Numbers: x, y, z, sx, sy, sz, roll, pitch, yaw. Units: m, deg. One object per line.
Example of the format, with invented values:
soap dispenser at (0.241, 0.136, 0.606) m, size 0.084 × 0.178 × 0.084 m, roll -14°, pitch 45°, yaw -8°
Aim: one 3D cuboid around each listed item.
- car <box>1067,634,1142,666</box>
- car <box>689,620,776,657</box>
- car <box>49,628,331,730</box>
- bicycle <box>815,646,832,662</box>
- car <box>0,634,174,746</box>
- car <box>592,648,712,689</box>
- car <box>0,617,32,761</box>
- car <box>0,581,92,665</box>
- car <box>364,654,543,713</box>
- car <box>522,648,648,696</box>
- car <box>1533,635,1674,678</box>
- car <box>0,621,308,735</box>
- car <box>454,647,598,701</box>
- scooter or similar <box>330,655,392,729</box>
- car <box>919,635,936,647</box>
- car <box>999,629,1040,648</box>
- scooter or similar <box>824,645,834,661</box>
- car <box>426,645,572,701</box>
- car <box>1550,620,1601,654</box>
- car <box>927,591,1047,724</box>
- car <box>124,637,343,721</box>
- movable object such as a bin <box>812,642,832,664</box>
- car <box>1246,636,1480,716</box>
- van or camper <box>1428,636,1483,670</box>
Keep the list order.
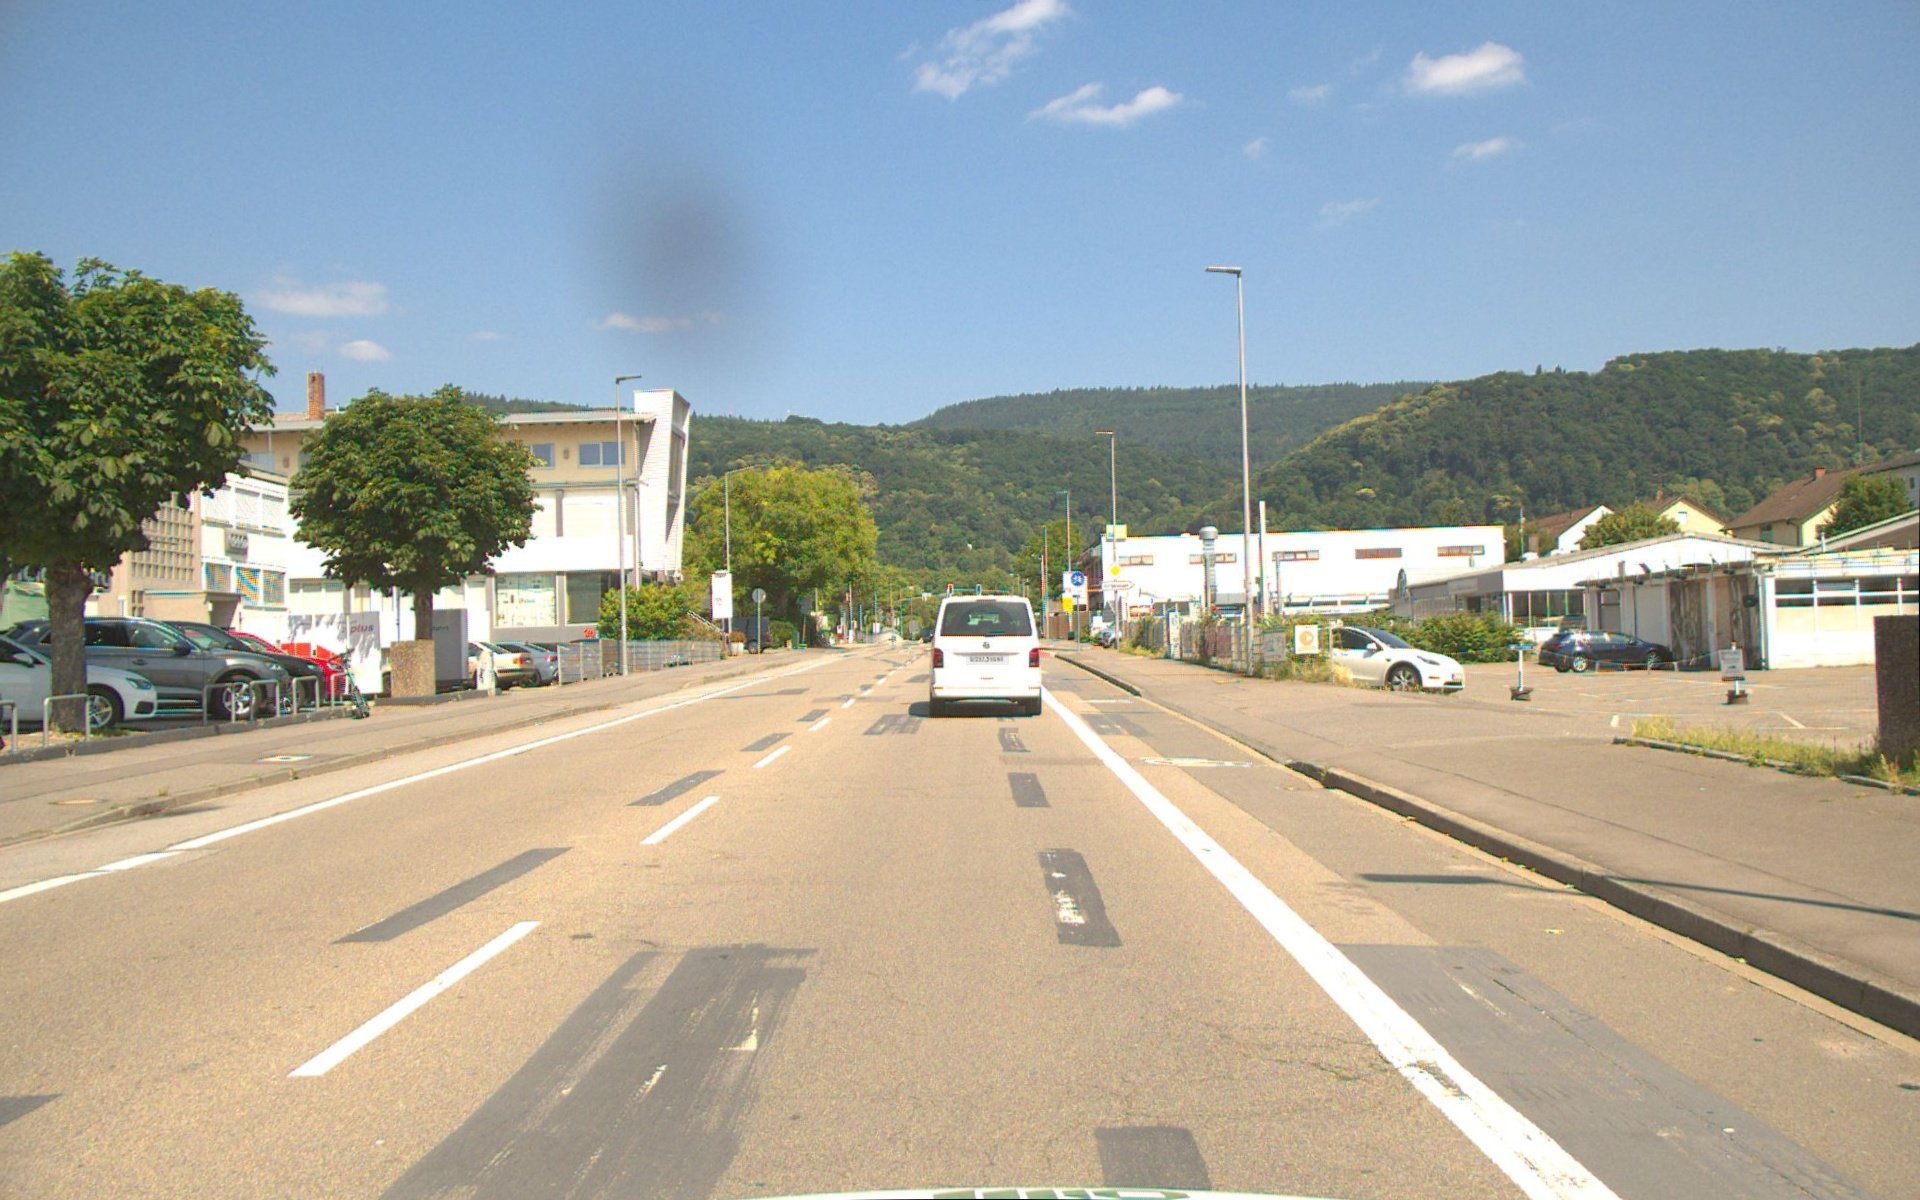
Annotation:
car at (7.130, 2.459, 81.625) m, size 3.588 × 1.510 × 1.728 m, roll -1°, pitch -1°, yaw 2°
car at (-12.220, 2.087, 88.944) m, size 4.477 × 1.898 × 2.090 m, roll -1°, pitch -2°, yaw -5°
car at (-14.082, 1.425, 30.344) m, size 4.429 × 1.738 × 1.887 m, roll 2°, pitch -3°, yaw -36°
bicycle at (-9.690, 3.822, 117.496) m, size 1.006 × 1.138 × 2.764 m, roll 1°, pitch -2°, yaw -2°
car at (-13.569, 1.262, 23.417) m, size 4.155 × 1.521 × 1.851 m, roll 2°, pitch -3°, yaw -36°
car at (-12.869, 2.858, 69.329) m, size 4.643 × 1.507 × 2.047 m, roll -2°, pitch -2°, yaw -1°
car at (-13.620, 0.971, 19.528) m, size 4.431 × 1.637 × 1.942 m, roll 4°, pitch 0°, yaw -35°
car at (-20.488, 0.509, 34.645) m, size 1.951 × 1.713 × 4.003 m, roll -1°, pitch -2°, yaw 13°
car at (-14.193, 2.335, 46.540) m, size 4.433 × 1.483 × 1.899 m, roll -2°, pitch -2°, yaw -2°
car at (-13.858, 2.650, 61.293) m, size 4.211 × 1.586 × 1.994 m, roll -2°, pitch -2°, yaw -4°
car at (22.978, 2.019, 59.233) m, size 4.238 × 1.423 × 2.120 m, roll -1°, pitch -2°, yaw 4°
car at (-13.369, 1.234, 27.370) m, size 4.528 × 1.726 × 1.836 m, roll 0°, pitch -2°, yaw -36°
car at (-13.420, 2.309, 51.335) m, size 3.907 × 1.469 × 1.858 m, roll 2°, pitch -4°, yaw -2°
scooter or similar at (-10.719, 1.628, 29.658) m, size 0.729 × 1.269 × 1.488 m, roll -1°, pitch -2°, yaw -7°
car at (-4.153, 5.292, 213.482) m, size 1.953 × 1.394 × 4.326 m, roll -2°, pitch -2°, yaw 0°
car at (6.037, 3.931, 167.583) m, size 3.902 × 1.807 × 2.001 m, roll -2°, pitch -2°, yaw 6°
scooter or similar at (-9.581, 3.840, 120.937) m, size 0.634 × 1.147 × 1.620 m, roll 1°, pitch -2°, yaw -6°
car at (-13.661, 2.181, 49.181) m, size 3.814 × 1.470 × 1.821 m, roll 3°, pitch -4°, yaw -5°
car at (32.629, 1.946, 87.643) m, size 1.956 × 1.676 × 3.993 m, roll -1°, pitch 0°, yaw 29°
car at (0.385, 0.976, 28.784) m, size 1.895 × 2.096 × 4.542 m, roll 1°, pitch -2°, yaw -1°
car at (-14.825, 1.571, 33.784) m, size 3.946 × 1.577 × 1.840 m, roll 0°, pitch -2°, yaw -31°
movable object such as a bin at (-10.558, 4.072, 126.611) m, size 1.421 × 1.618 × 1.304 m, roll -2°, pitch -2°, yaw -8°
car at (9.322, 1.780, 38.480) m, size 4.959 × 1.650 × 2.010 m, roll -2°, pitch -7°, yaw 43°
van or camper at (26.384, 2.822, 87.947) m, size 1.955 × 1.570 × 4.224 m, roll -7°, pitch -5°, yaw 26°
